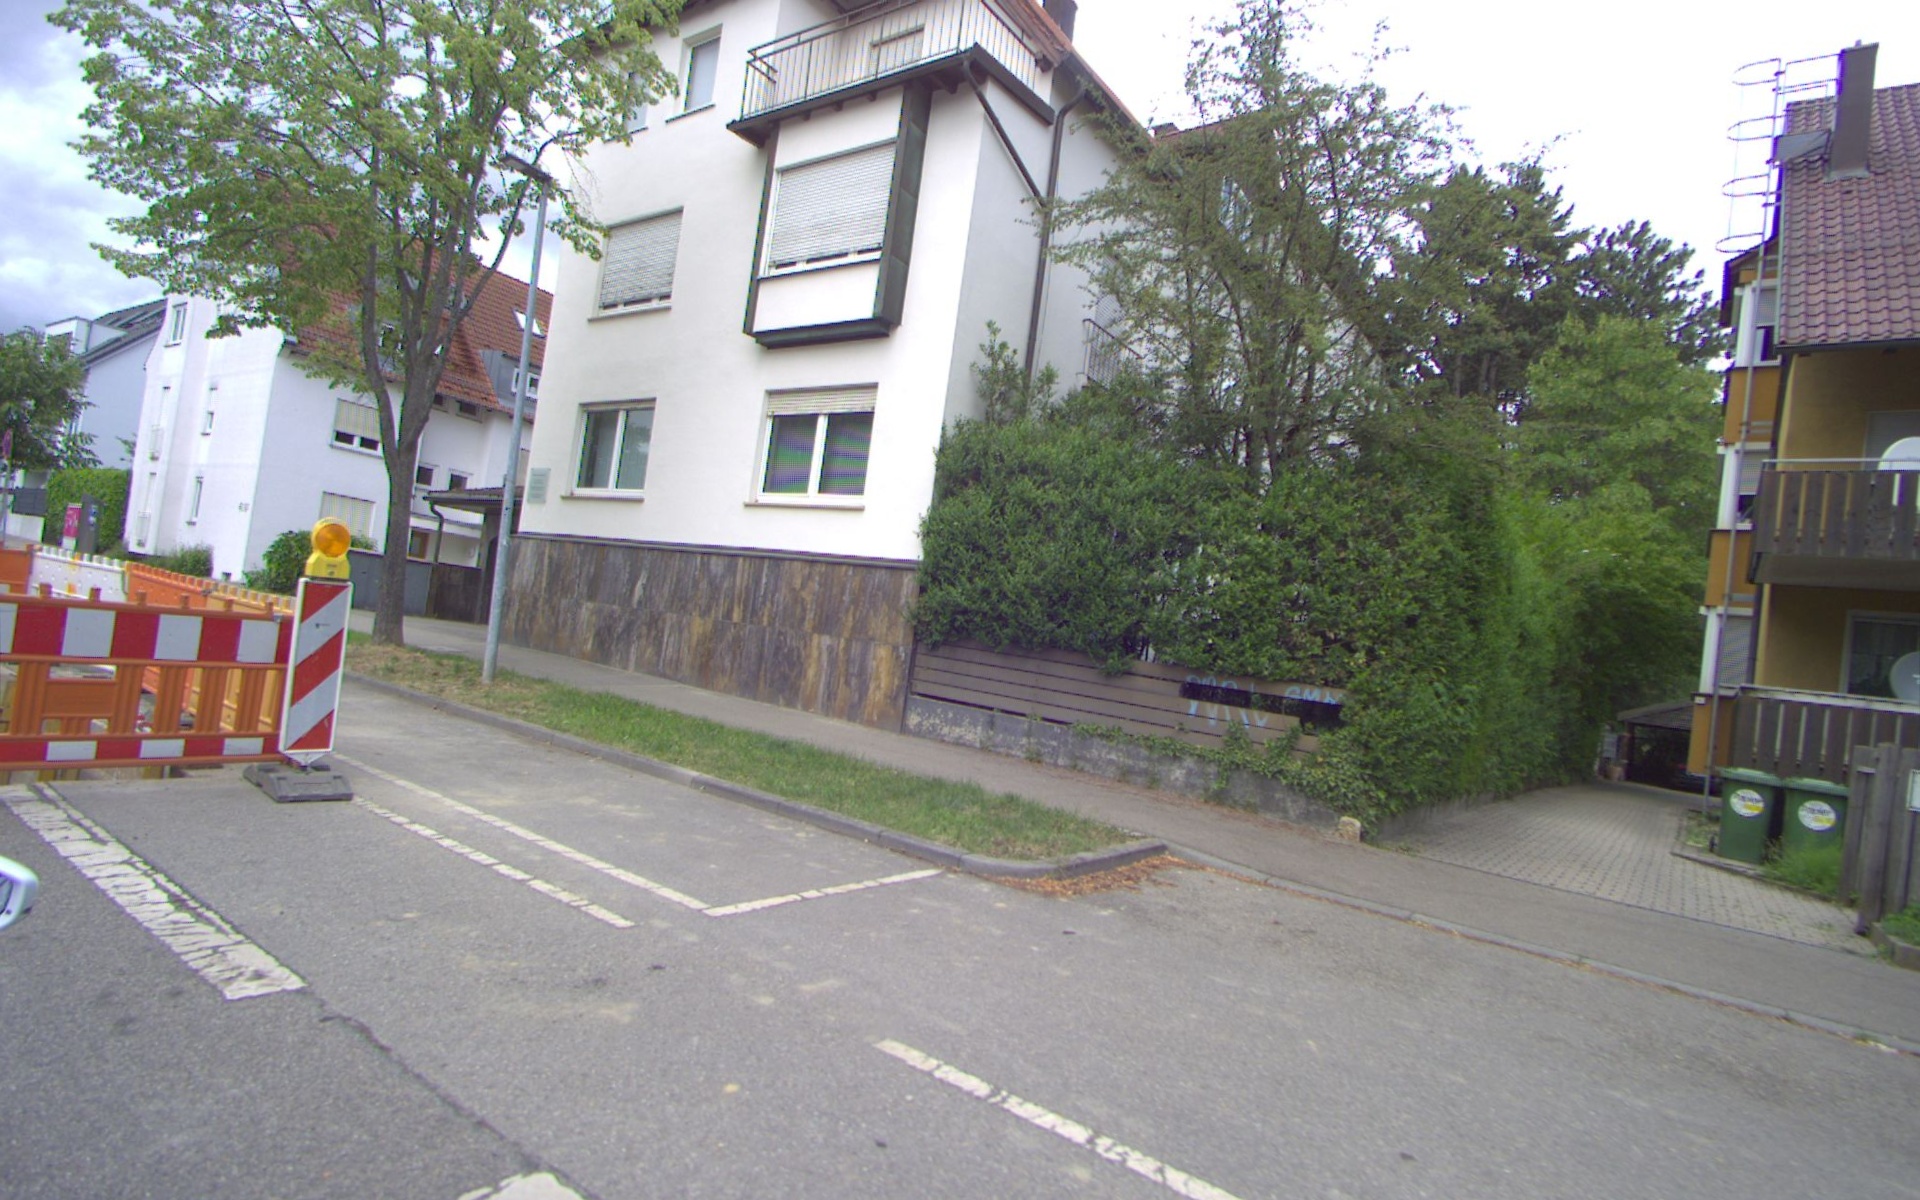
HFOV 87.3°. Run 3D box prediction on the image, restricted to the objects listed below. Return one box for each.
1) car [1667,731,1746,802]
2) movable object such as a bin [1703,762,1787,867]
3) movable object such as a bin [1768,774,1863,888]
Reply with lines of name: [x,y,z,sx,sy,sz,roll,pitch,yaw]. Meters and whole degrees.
car: [26.301,5.804,35.437,1.970,2.037,3.988,7,-2,38]
movable object such as a bin: [9.254,2.513,11.875,0.667,1.066,0.588,7,-1,39]
movable object such as a bin: [9.320,2.496,10.986,0.667,1.066,0.588,7,-1,39]
